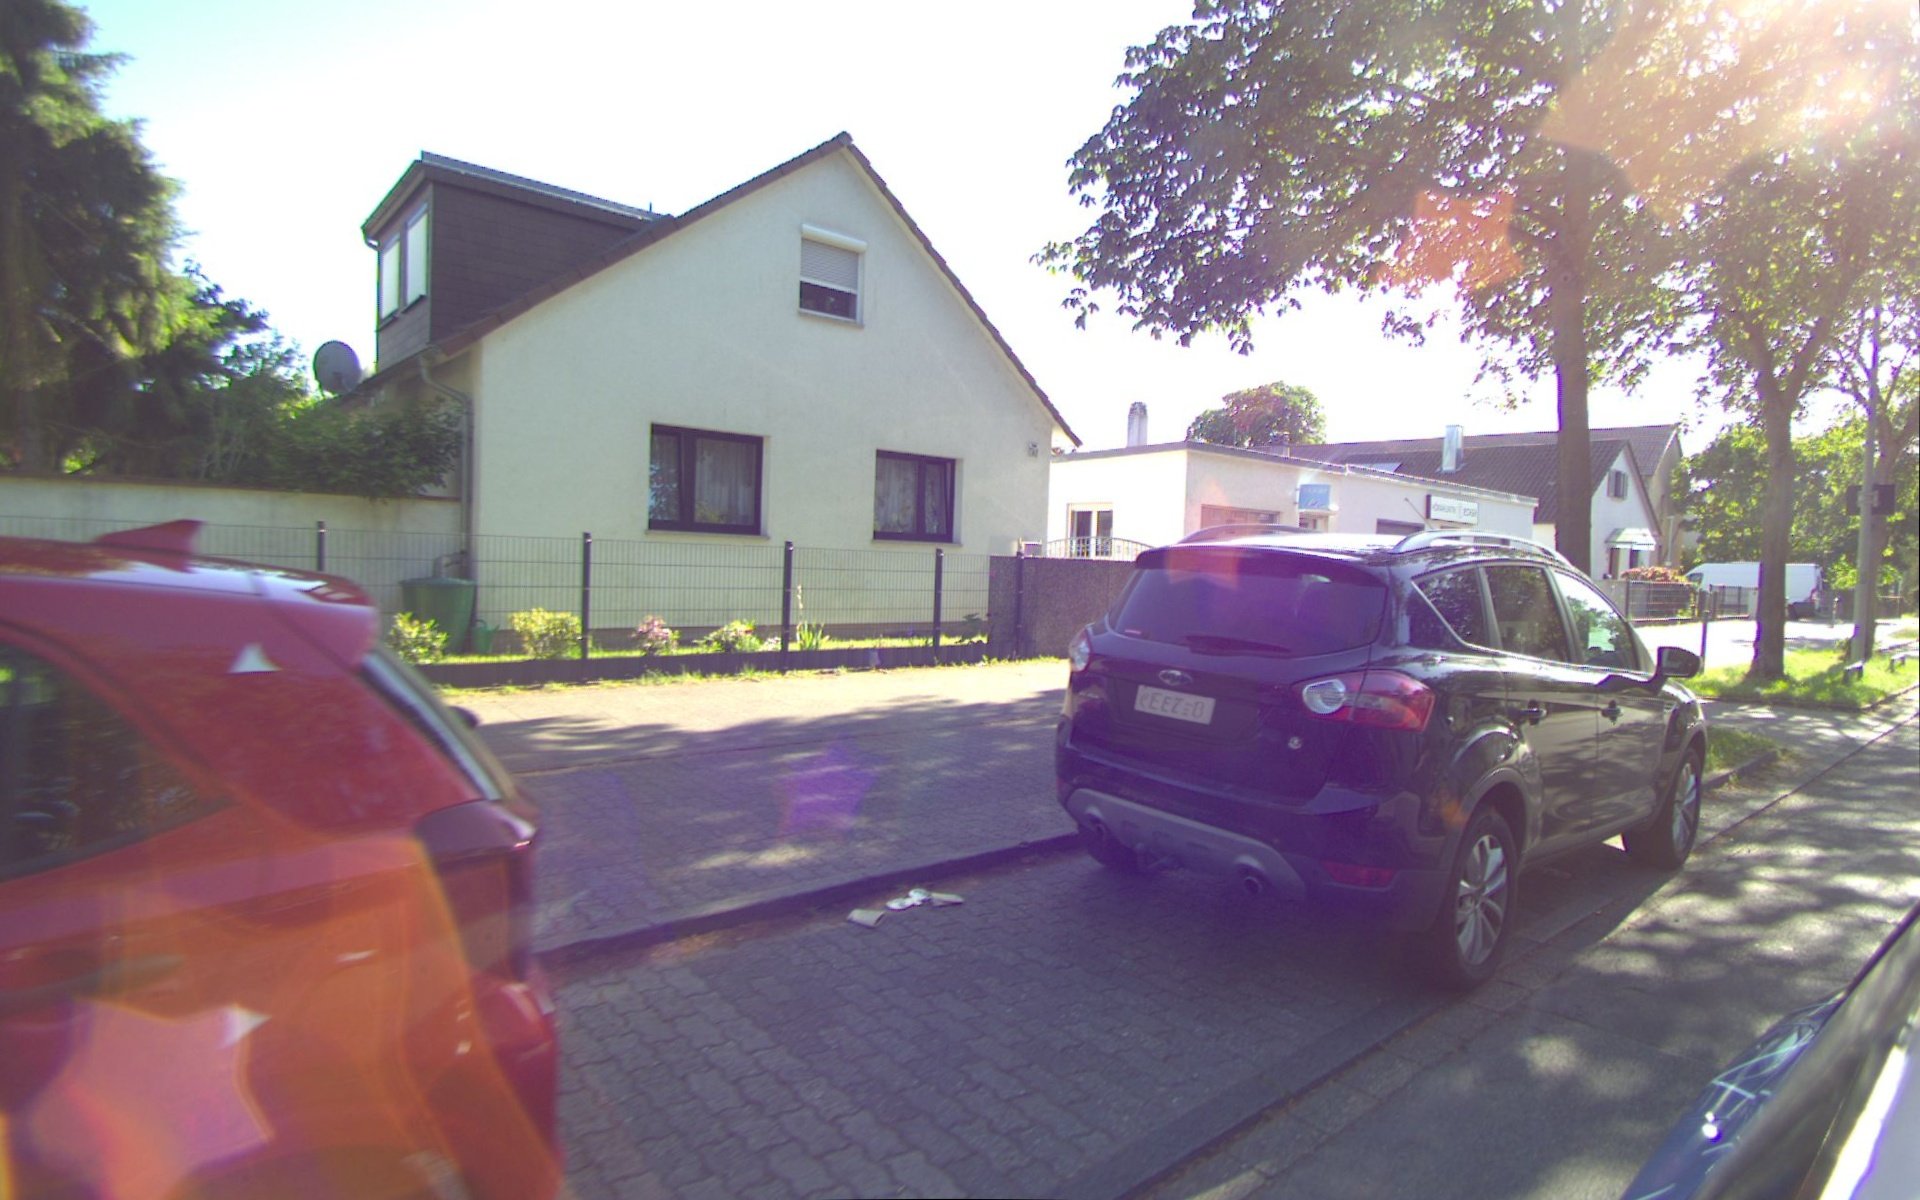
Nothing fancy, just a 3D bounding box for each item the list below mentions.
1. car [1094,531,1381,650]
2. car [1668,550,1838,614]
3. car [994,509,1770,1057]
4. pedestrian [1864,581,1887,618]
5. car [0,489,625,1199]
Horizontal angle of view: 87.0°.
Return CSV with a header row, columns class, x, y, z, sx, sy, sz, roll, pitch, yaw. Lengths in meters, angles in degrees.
class,x,y,z,sx,sy,sz,roll,pitch,yaw
car,4.310,-0.217,16.207,1.869,1.506,3.997,2,4,-41
car,35.116,-0.845,44.967,2.228,2.570,5.603,1,3,-43
car,2.433,0.461,5.201,4.392,1.645,1.857,-1,5,-41
pedestrian,43.951,-0.025,48.587,0.601,1.726,0.638,2,4,-42
car,-2.586,0.564,1.158,3.818,1.496,1.702,-1,5,-39
